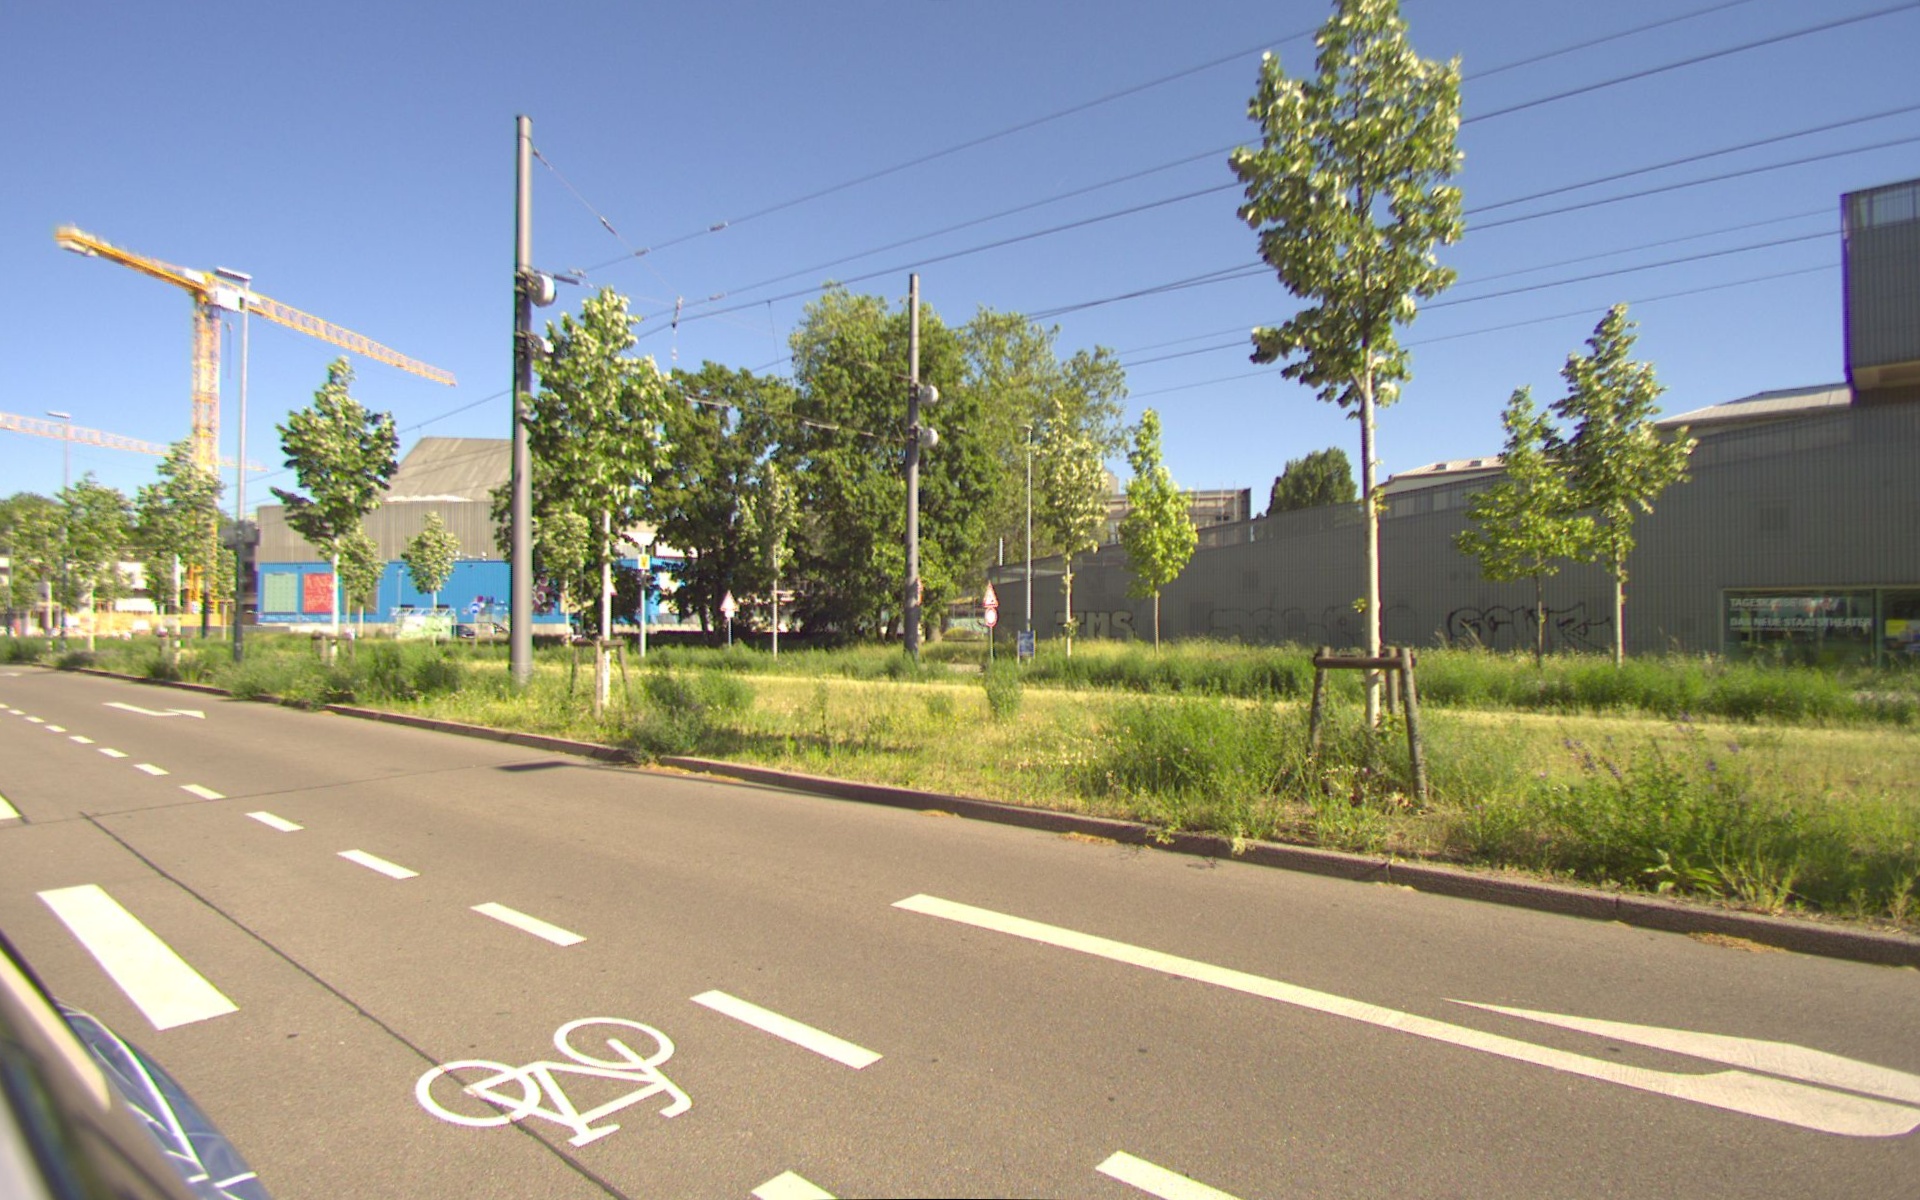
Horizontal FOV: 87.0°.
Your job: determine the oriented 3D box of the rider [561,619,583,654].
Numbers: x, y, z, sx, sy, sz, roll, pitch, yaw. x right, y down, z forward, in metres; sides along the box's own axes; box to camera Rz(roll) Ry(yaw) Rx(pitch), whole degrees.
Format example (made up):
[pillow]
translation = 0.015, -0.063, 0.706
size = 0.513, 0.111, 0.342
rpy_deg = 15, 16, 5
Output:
[rider]
translation = -17.505, 1.643, 45.680
size = 0.631, 1.534, 0.715
rpy_deg = -2, -2, 38
